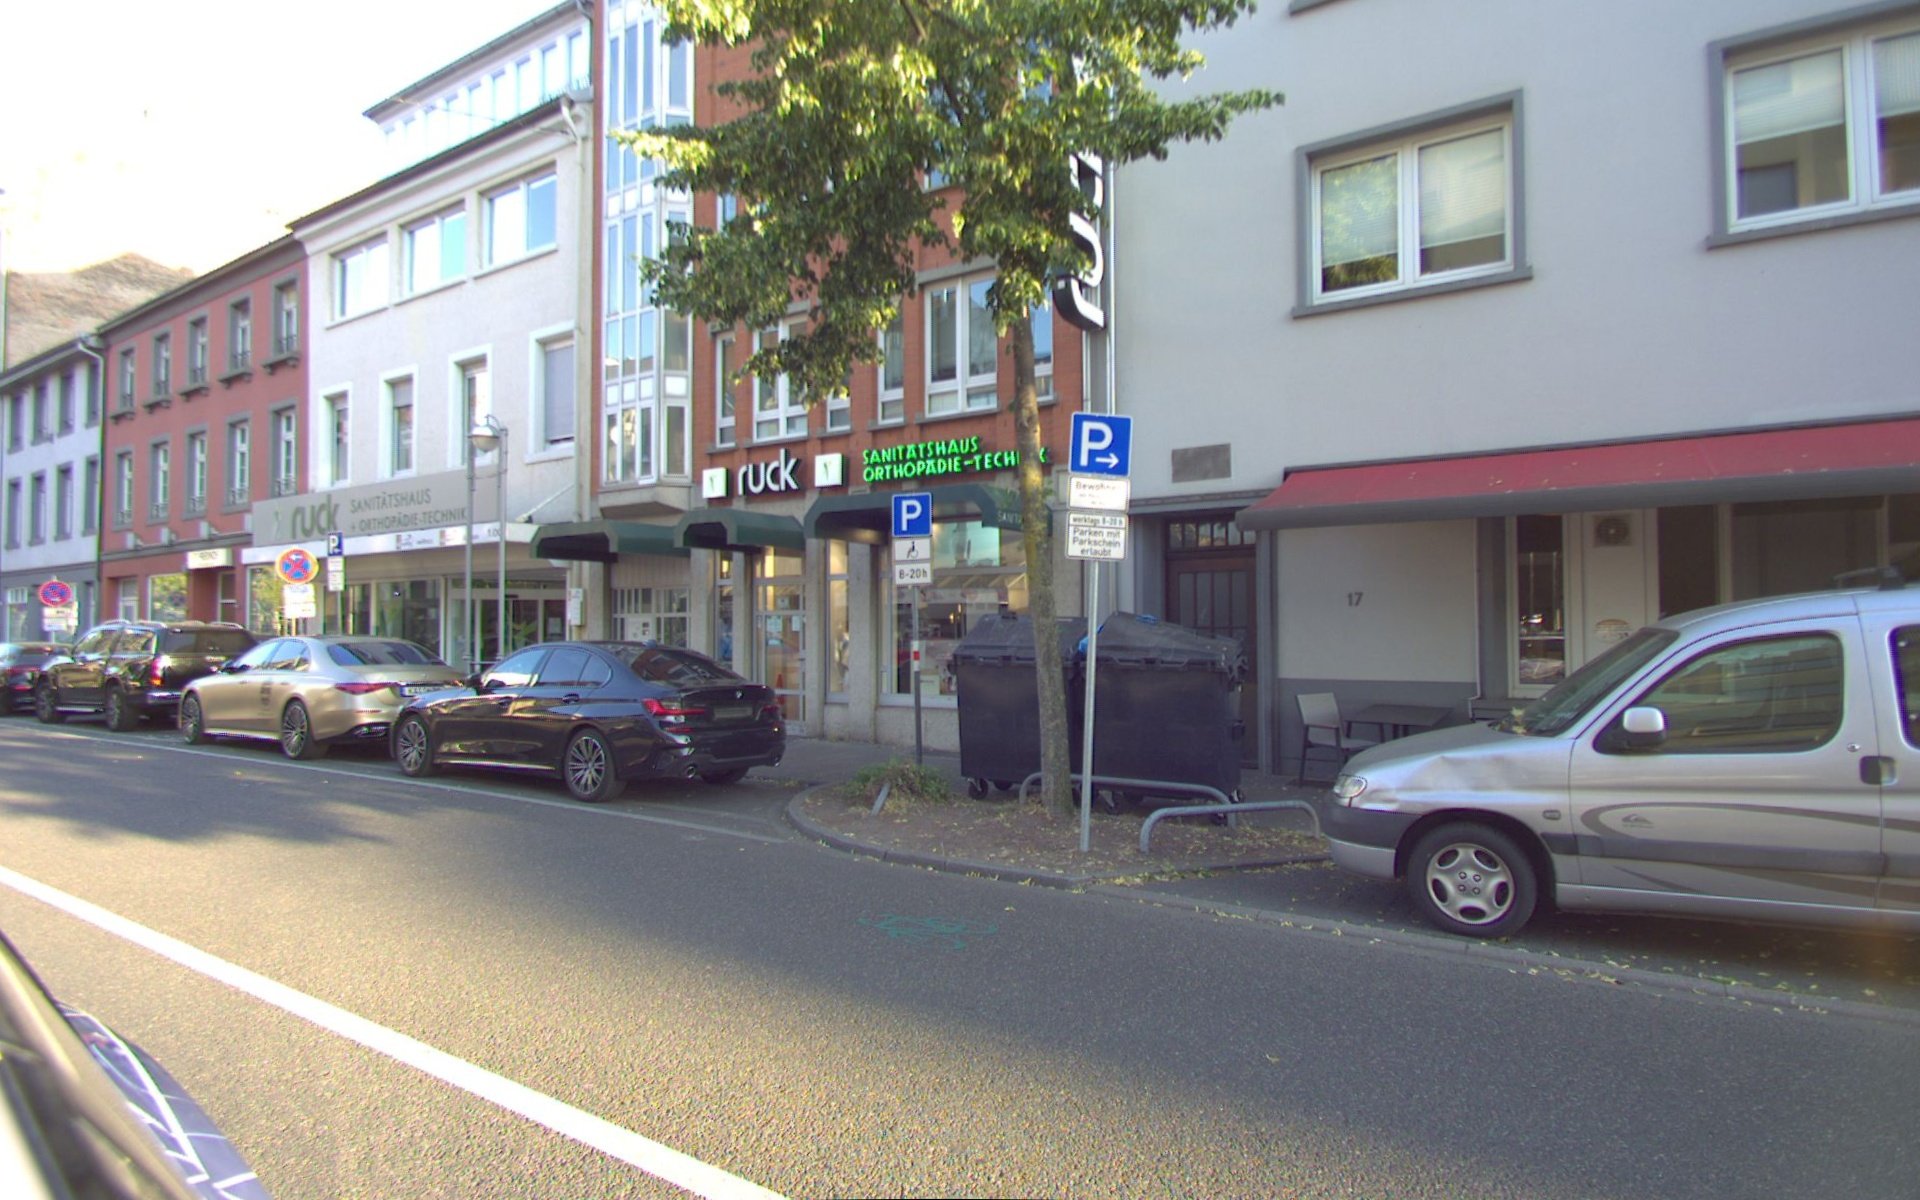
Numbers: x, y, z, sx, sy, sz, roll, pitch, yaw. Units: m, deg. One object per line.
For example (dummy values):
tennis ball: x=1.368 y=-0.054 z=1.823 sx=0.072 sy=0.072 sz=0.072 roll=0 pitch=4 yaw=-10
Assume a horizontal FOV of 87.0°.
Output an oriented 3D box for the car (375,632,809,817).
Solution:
car: x=-3.800 y=1.113 z=10.159 sx=4.528 sy=1.484 sz=1.706 roll=-2 pitch=-5 yaw=33

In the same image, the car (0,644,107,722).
car: x=-19.314 y=1.653 z=20.698 sx=4.001 sy=1.448 sz=1.688 roll=-2 pitch=-5 yaw=32

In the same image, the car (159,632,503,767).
car: x=-8.466 y=1.228 z=13.457 sx=5.094 sy=1.484 sz=1.977 roll=-2 pitch=-4 yaw=34

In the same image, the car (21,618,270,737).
car: x=-13.998 y=1.277 z=17.326 sx=4.921 sy=1.793 sz=1.708 roll=-2 pitch=-4 yaw=31

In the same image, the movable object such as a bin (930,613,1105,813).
movable object such as a bin: x=0.513 y=0.945 z=8.998 sx=1.331 sy=1.632 sz=0.775 roll=-1 pitch=-1 yaw=30

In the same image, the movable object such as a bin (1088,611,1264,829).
movable object such as a bin: x=1.768 y=0.923 z=8.276 sx=1.203 sy=1.632 sz=0.775 roll=-1 pitch=0 yaw=30

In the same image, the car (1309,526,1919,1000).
car: x=3.978 y=0.701 z=4.985 sx=4.038 sy=1.902 sz=1.657 roll=-1 pitch=-4 yaw=31
